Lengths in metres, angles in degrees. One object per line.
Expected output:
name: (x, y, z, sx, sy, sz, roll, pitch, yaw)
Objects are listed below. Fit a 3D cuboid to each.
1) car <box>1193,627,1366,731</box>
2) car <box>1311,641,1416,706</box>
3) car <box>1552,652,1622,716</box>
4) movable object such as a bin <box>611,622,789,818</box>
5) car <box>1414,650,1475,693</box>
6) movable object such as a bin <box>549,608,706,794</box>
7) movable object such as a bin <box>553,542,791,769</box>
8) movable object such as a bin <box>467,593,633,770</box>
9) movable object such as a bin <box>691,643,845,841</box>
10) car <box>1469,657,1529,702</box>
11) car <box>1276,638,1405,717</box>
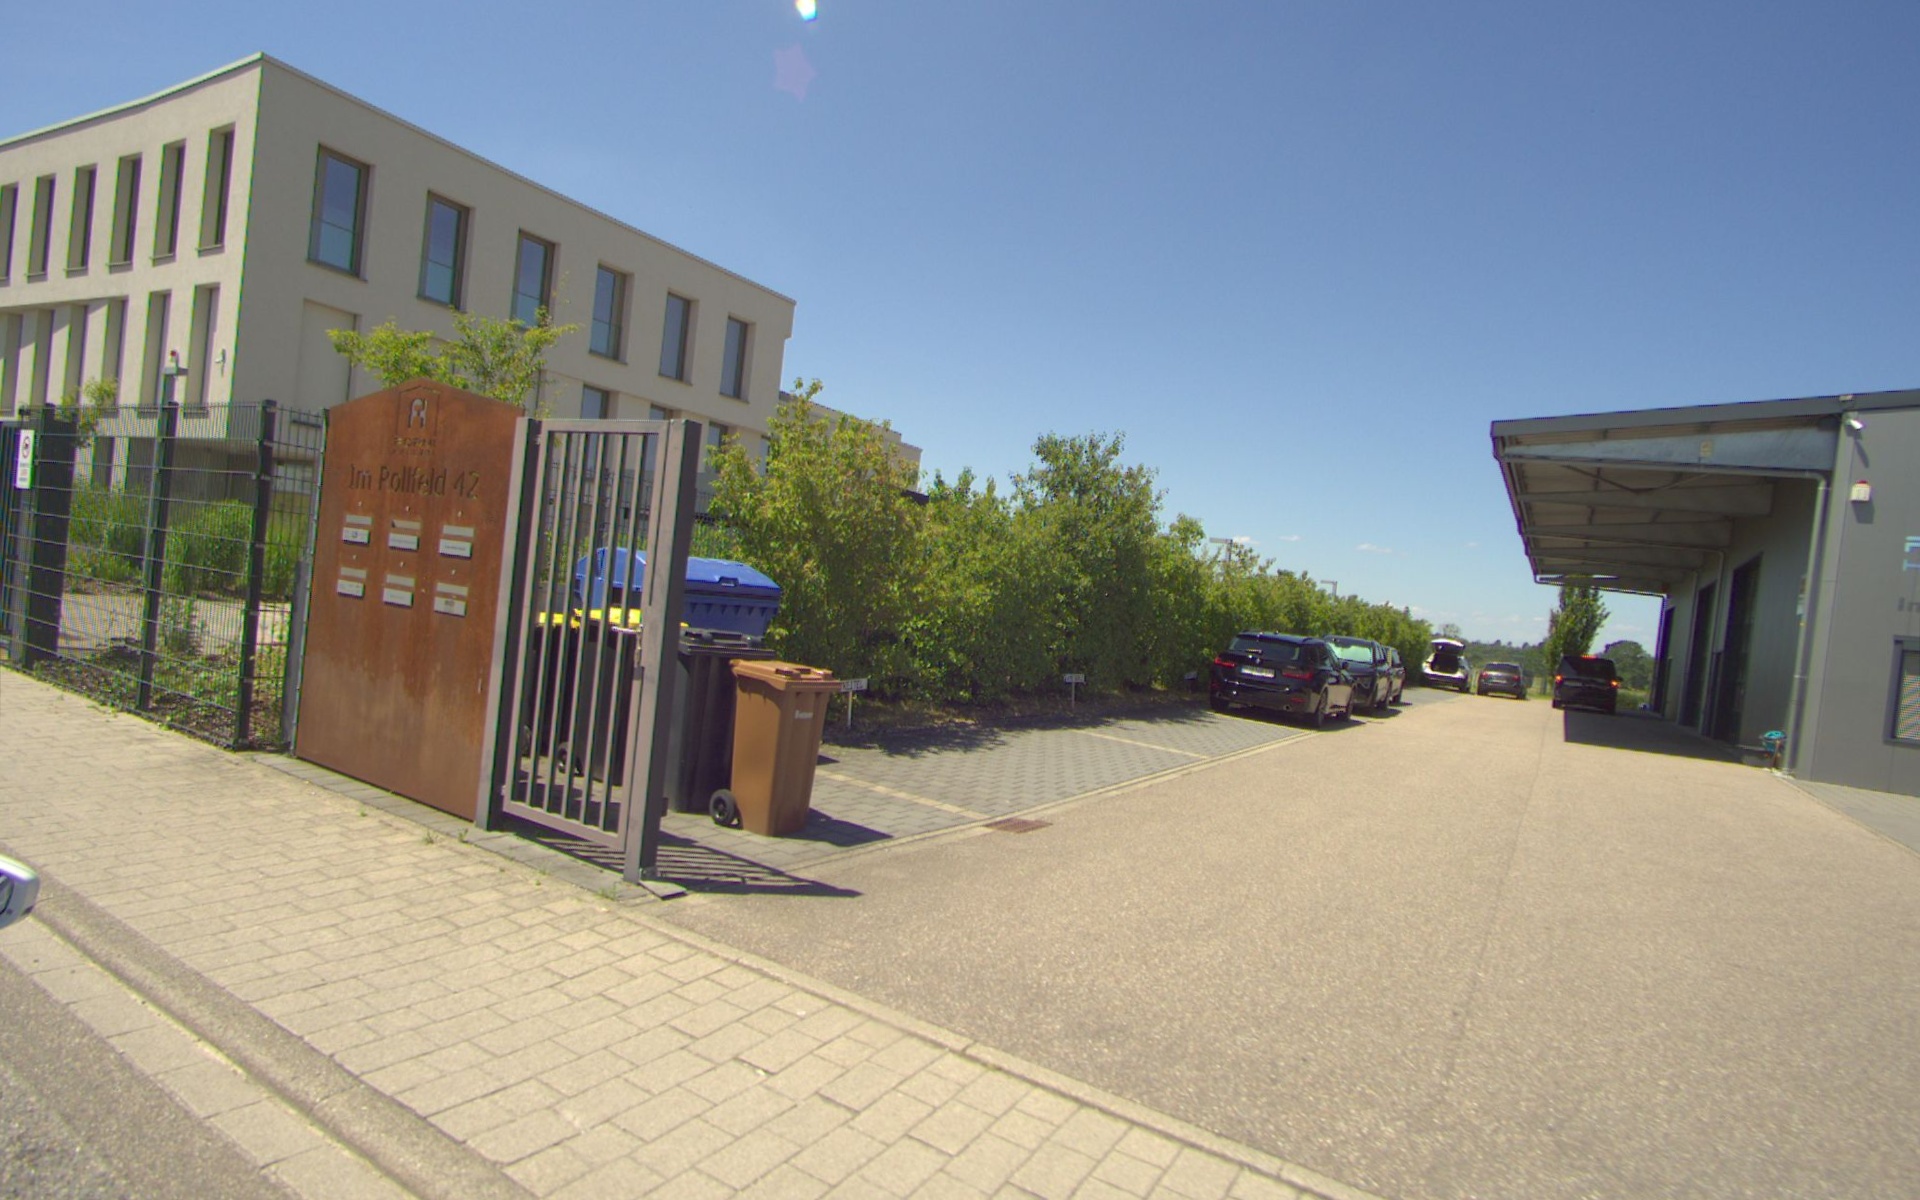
car: (5.647, 1.357, 17.479, 1.763, 1.372, 3.990, 8, 0, 33)
car: (10.777, 1.951, 26.710, 1.763, 1.372, 3.990, 8, 0, 33)
car: (21.835, 2.925, 35.035, 1.763, 1.865, 3.990, 8, 0, 33)
movable object such as a bin: (-1.569, 0.700, 6.136, 0.571, 1.049, 0.793, 7, 1, 31)
car: (20.798, 3.071, 43.111, 1.763, 1.540, 3.990, 8, 0, 33)
movable object such as a bin: (-2.118, 0.622, 6.429, 0.640, 1.049, 0.604, 7, 2, 32)
movable object such as a bin: (-2.138, 0.400, 7.597, 0.933, 1.478, 1.335, 7, 1, 31)
movable object such as a bin: (-2.789, 0.529, 6.845, 0.898, 1.049, 0.543, 7, 2, 31)
movable object such as a bin: (-1.103, 0.787, 5.801, 0.571, 1.007, 0.543, 7, 2, 31)
car: (22.361, 3.291, 41.675, 1.763, 1.540, 3.990, 8, 0, 33)
car: (8.525, 1.714, 22.356, 1.763, 1.372, 3.990, 8, 0, 33)
